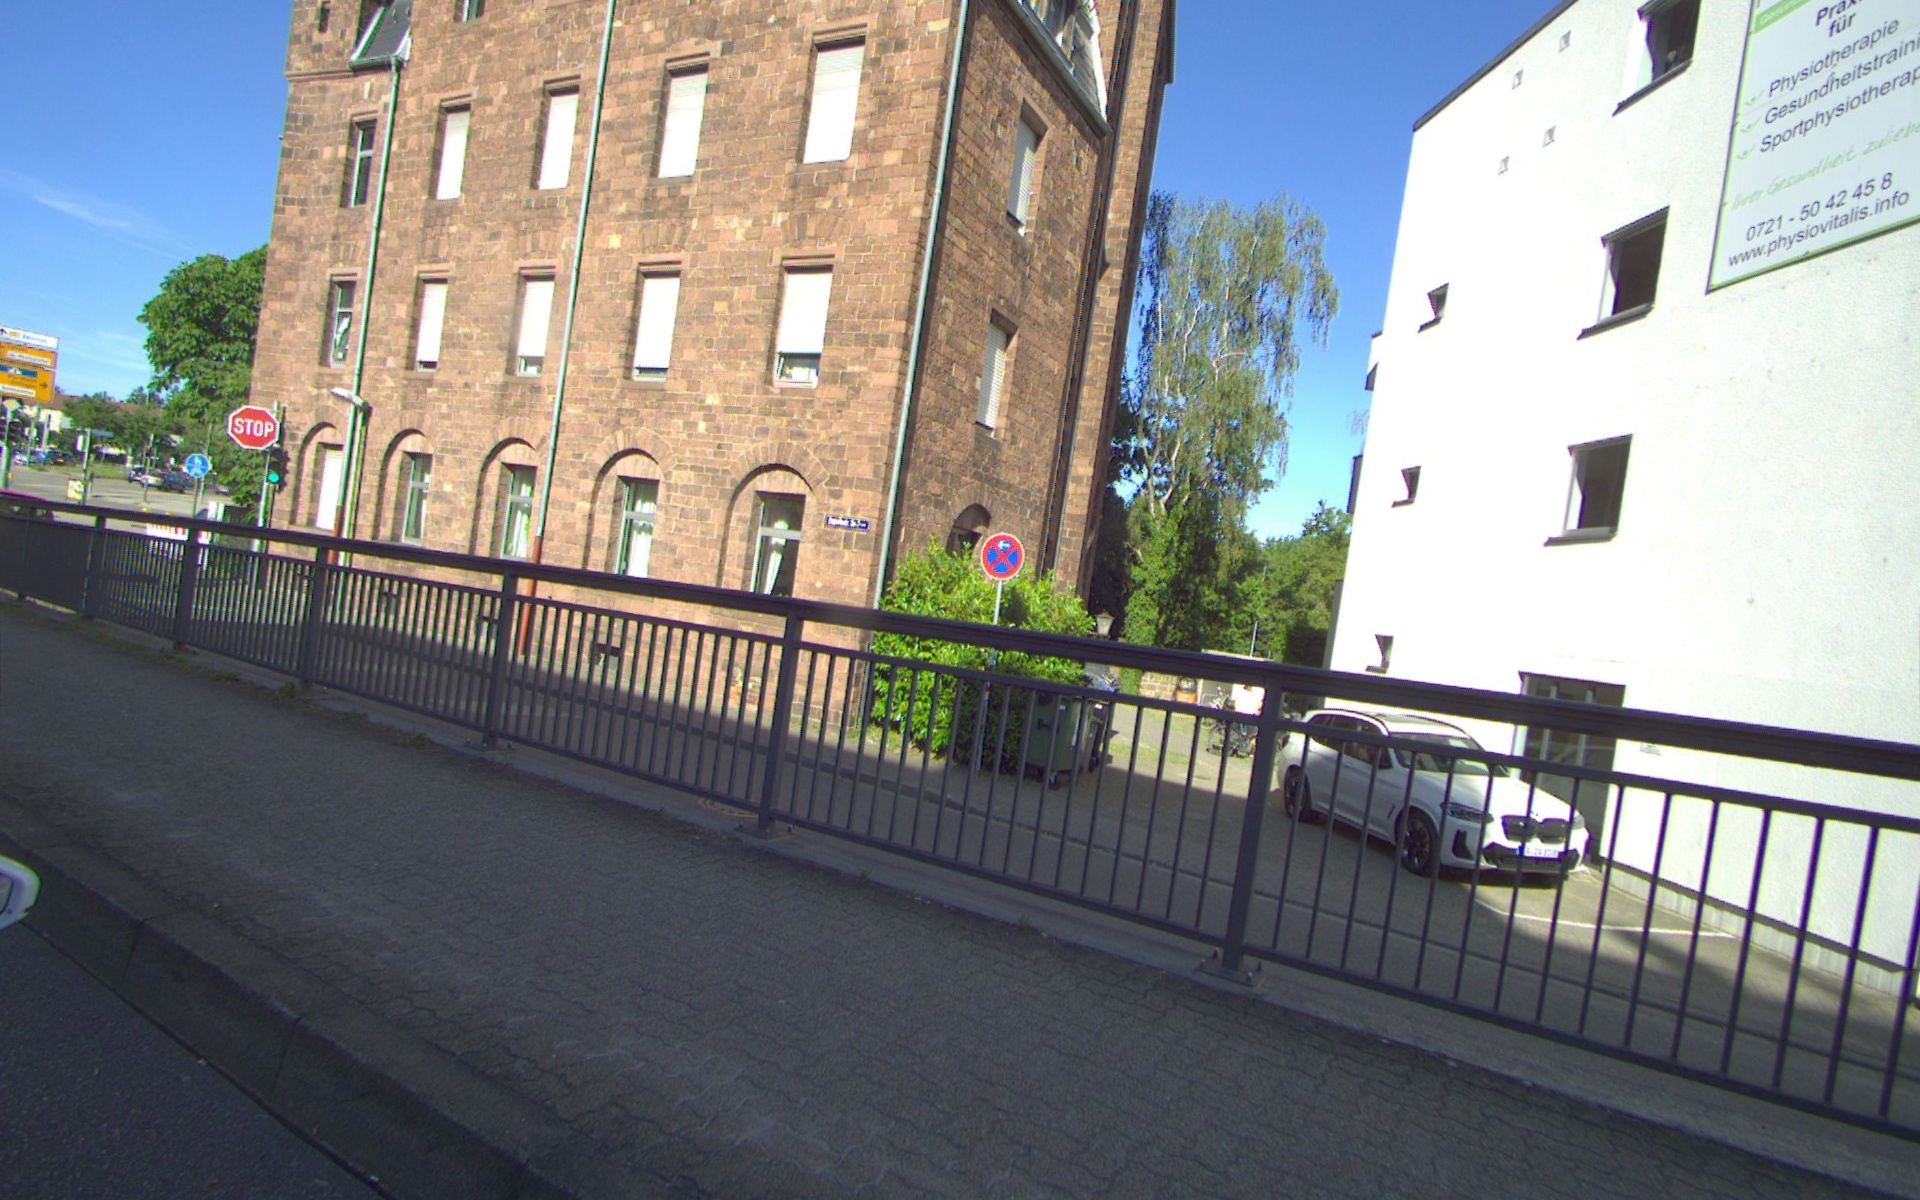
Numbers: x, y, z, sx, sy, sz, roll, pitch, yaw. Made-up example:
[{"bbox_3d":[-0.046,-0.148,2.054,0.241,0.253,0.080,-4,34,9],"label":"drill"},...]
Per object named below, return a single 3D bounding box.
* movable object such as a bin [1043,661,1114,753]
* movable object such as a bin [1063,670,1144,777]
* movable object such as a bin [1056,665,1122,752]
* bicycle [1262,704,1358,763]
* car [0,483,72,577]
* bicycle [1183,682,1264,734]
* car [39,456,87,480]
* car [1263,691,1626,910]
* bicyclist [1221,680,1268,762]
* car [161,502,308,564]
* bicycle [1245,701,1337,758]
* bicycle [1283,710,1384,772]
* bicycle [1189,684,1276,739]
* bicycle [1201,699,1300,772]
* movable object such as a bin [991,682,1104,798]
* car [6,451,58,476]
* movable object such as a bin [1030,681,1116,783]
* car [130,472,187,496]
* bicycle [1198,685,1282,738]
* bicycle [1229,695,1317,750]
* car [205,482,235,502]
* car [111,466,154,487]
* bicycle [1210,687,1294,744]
[{"bbox_3d":[2.278,2.017,19.266,1.009,1.539,1.007,10,0,14],"label":"movable object such as a bin"},{"bbox_3d":[2.393,2.016,16.659,1.009,1.539,1.007,10,0,14],"label":"movable object such as a bin"},{"bbox_3d":[2.639,2.183,20.455,1.009,1.539,1.007,10,0,14],"label":"movable object such as a bin"},{"bbox_3d":[8.122,3.094,23.361,1.889,1.065,0.664,8,1,-6],"label":"bicycle"},{"bbox_3d":[-19.296,-1.530,19.506,3.423,1.540,1.726,10,1,24],"label":"car"},{"bbox_3d":[7.657,3.136,29.262,2.075,1.174,0.664,8,1,-9],"label":"bicycle"},{"bbox_3d":[-82.315,-12.098,92.351,1.860,1.598,3.978,8,1,-22],"label":"car"},{"bbox_3d":[5.959,2.404,13.157,1.814,1.707,4.521,8,0,-9],"label":"car"},{"bbox_3d":[6.142,2.602,21.755,0.683,1.627,0.688,9,0,12],"label":"bicyclist"},{"bbox_3d":[-27.905,-2.543,38.875,1.695,1.623,4.299,10,0,18],"label":"car"},{"bbox_3d":[7.967,3.114,24.249,1.889,1.065,0.664,8,1,-6],"label":"bicycle"},{"bbox_3d":[8.327,3.139,22.447,1.889,1.065,0.664,8,1,-6],"label":"bicycle"},{"bbox_3d":[7.400,3.028,27.377,2.075,1.174,0.664,8,1,-9],"label":"bicycle"},{"bbox_3d":[6.090,2.834,21.178,1.804,1.155,0.690,9,2,13],"label":"bicycle"},{"bbox_3d":[1.185,1.851,13.516,1.011,1.307,1.005,10,0,29],"label":"movable object such as a bin"},{"bbox_3d":[-79.897,-11.734,86.649,1.860,1.598,3.978,8,1,-22],"label":"car"},{"bbox_3d":[1.753,1.999,15.478,1.009,1.307,1.007,10,0,14],"label":"movable object such as a bin"},{"bbox_3d":[-65.370,-9.441,82.124,1.972,1.459,4.799,8,1,-19],"label":"car"},{"bbox_3d":[7.901,3.135,28.409,2.075,1.174,0.664,8,1,-9],"label":"bicycle"},{"bbox_3d":[7.862,3.083,25.276,1.889,1.065,0.664,8,1,-6],"label":"bicycle"},{"bbox_3d":[-72.272,-10.559,98.249,1.985,1.459,4.244,7,2,-40],"label":"car"},{"bbox_3d":[-72.445,-10.804,88.129,1.765,1.375,4.052,8,2,-24],"label":"car"},{"bbox_3d":[7.661,3.025,26.444,1.889,1.174,0.664,8,1,-6],"label":"bicycle"}]
